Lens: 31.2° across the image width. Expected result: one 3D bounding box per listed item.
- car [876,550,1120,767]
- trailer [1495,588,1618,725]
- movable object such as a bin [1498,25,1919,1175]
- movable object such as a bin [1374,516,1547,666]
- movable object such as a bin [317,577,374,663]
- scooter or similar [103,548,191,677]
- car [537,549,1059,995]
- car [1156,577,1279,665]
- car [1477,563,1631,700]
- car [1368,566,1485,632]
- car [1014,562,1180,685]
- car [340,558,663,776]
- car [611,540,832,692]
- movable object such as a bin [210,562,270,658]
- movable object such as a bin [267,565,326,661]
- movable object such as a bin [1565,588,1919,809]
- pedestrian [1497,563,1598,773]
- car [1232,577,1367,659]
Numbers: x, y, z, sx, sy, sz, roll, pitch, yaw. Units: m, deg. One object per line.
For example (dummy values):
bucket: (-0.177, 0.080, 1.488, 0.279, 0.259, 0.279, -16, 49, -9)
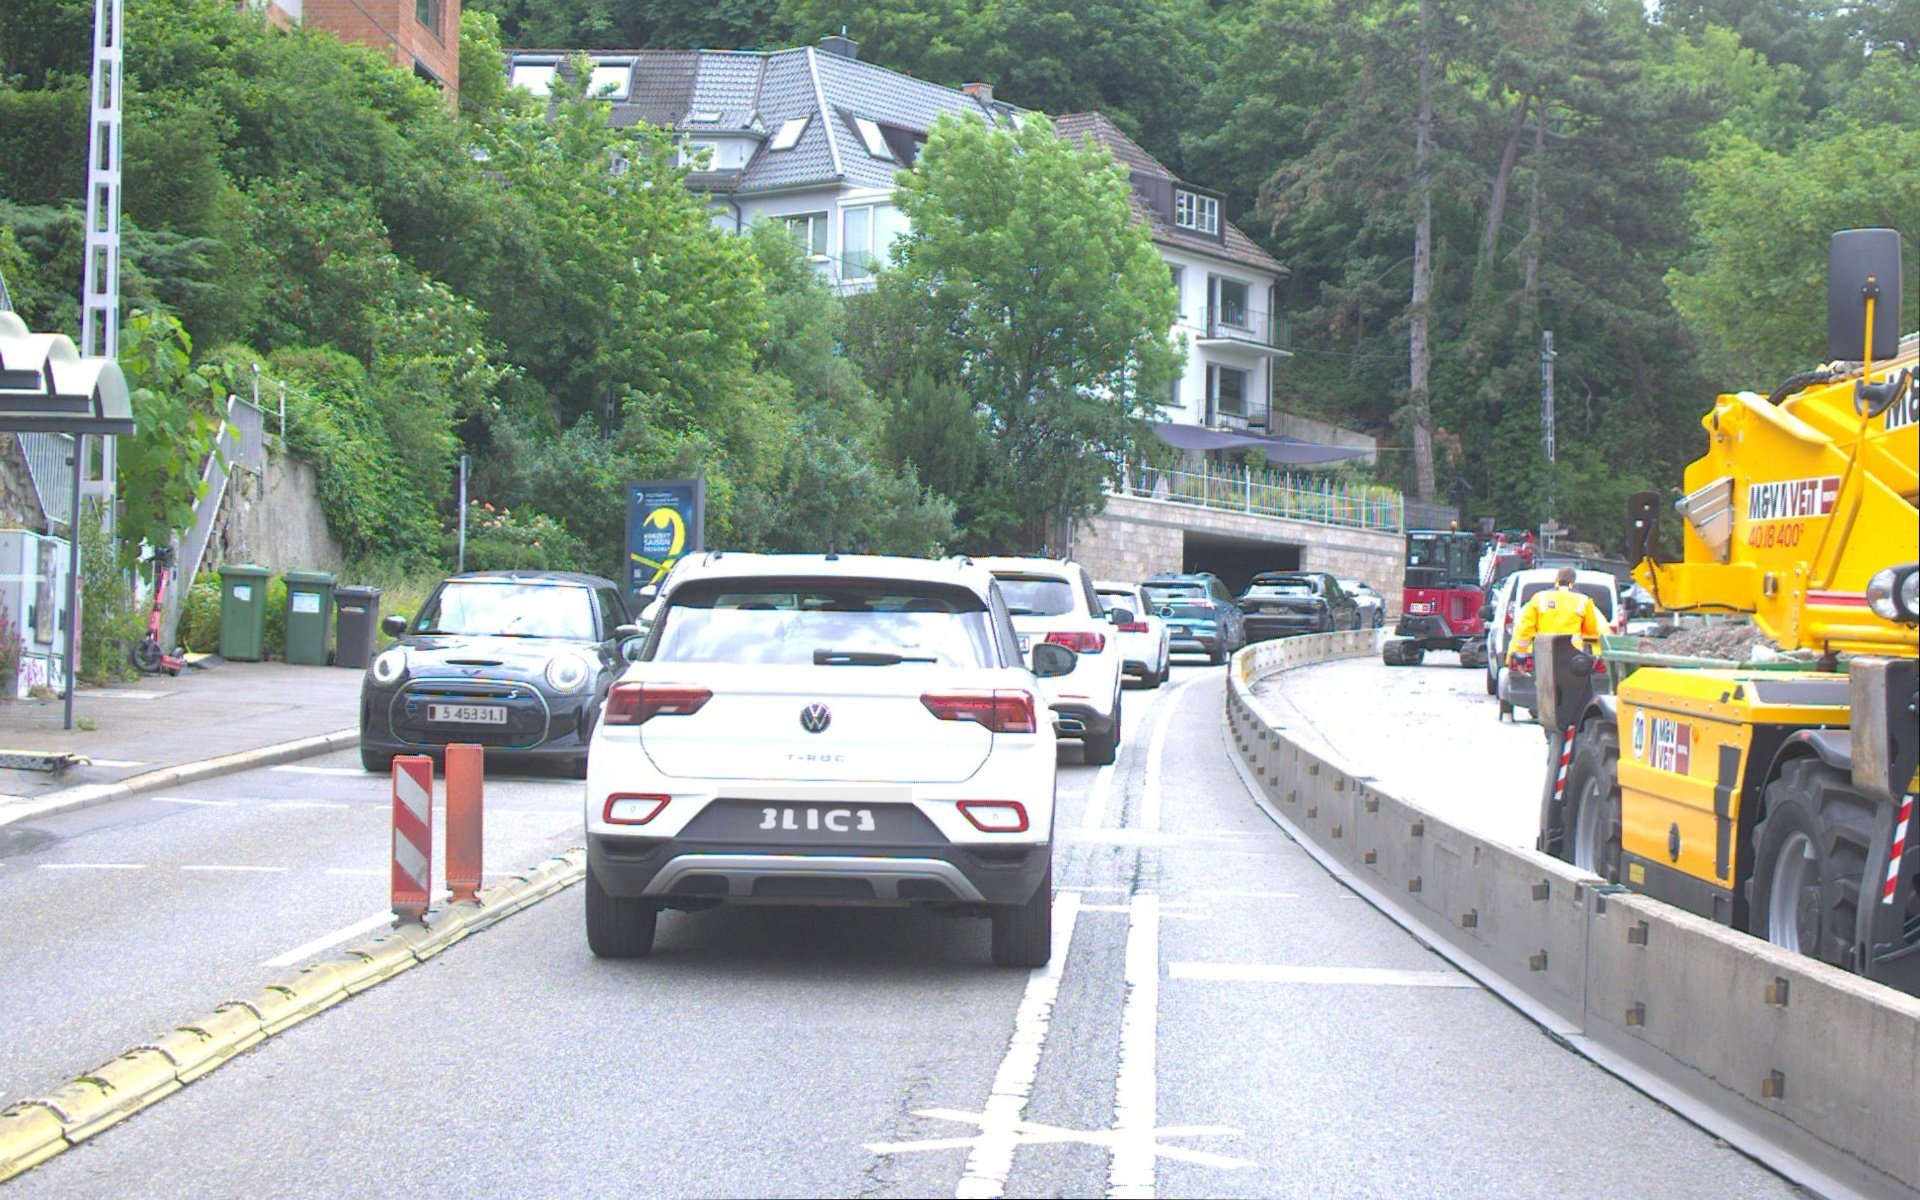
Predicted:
car: (0.383, 0.431, 28.345, 1.810, 1.657, 4.000, 0, 0, 3)
trailer: (6.896, 0.622, 39.969, 1.289, 1.470, 3.632, 2, 1, 9)
movable object such as a bin: (3.907, -0.003, 11.047, 2.811, 3.060, 7.824, 2, 1, -2)
movable object such as a bin: (9.470, -0.178, 64.691, 2.214, 2.654, 4.940, 2, 1, 20)
movable object such as a bin: (-6.903, 0.223, 38.616, 0.468, 0.931, 0.624, 3, 1, 2)
scooter or similar: (-7.893, 0.110, 33.413, 0.459, 1.201, 1.435, 3, 1, 0)
car: (-0.539, 0.593, 14.164, 1.810, 1.526, 4.000, 2, 0, 1)
car: (4.612, 0.342, 61.164, 1.795, 1.505, 3.998, 0, 0, 10)
car: (8.210, 0.401, 47.789, 1.833, 1.773, 4.267, 2, 1, 7)
car: (12.051, -0.047, 88.608, 1.812, 1.657, 3.994, 0, 0, 26)
car: (1.969, 0.305, 48.437, 1.810, 1.657, 3.998, 0, 0, 10)
car: (-3.270, 0.446, 25.122, 1.672, 1.425, 3.587, 2, 0, 3)
car: (-2.656, 0.152, 39.208, 1.842, 1.594, 4.263, 1, 1, 5)
movable object such as a bin: (-8.097, 0.105, 38.684, 0.468, 1.050, 0.624, 3, 1, 2)
movable object such as a bin: (-7.453, 0.140, 38.647, 0.468, 1.050, 0.624, 3, 1, 2)
movable object such as a bin: (6.877, 0.730, 28.812, 2.374, 1.556, 7.099, 2, 0, 1)
pedestrian: (4.895, 0.552, 28.683, 0.645, 1.696, 0.850, 3, 1, 2)
car: (7.135, 0.357, 71.948, 1.812, 1.657, 3.996, 0, 0, 21)
